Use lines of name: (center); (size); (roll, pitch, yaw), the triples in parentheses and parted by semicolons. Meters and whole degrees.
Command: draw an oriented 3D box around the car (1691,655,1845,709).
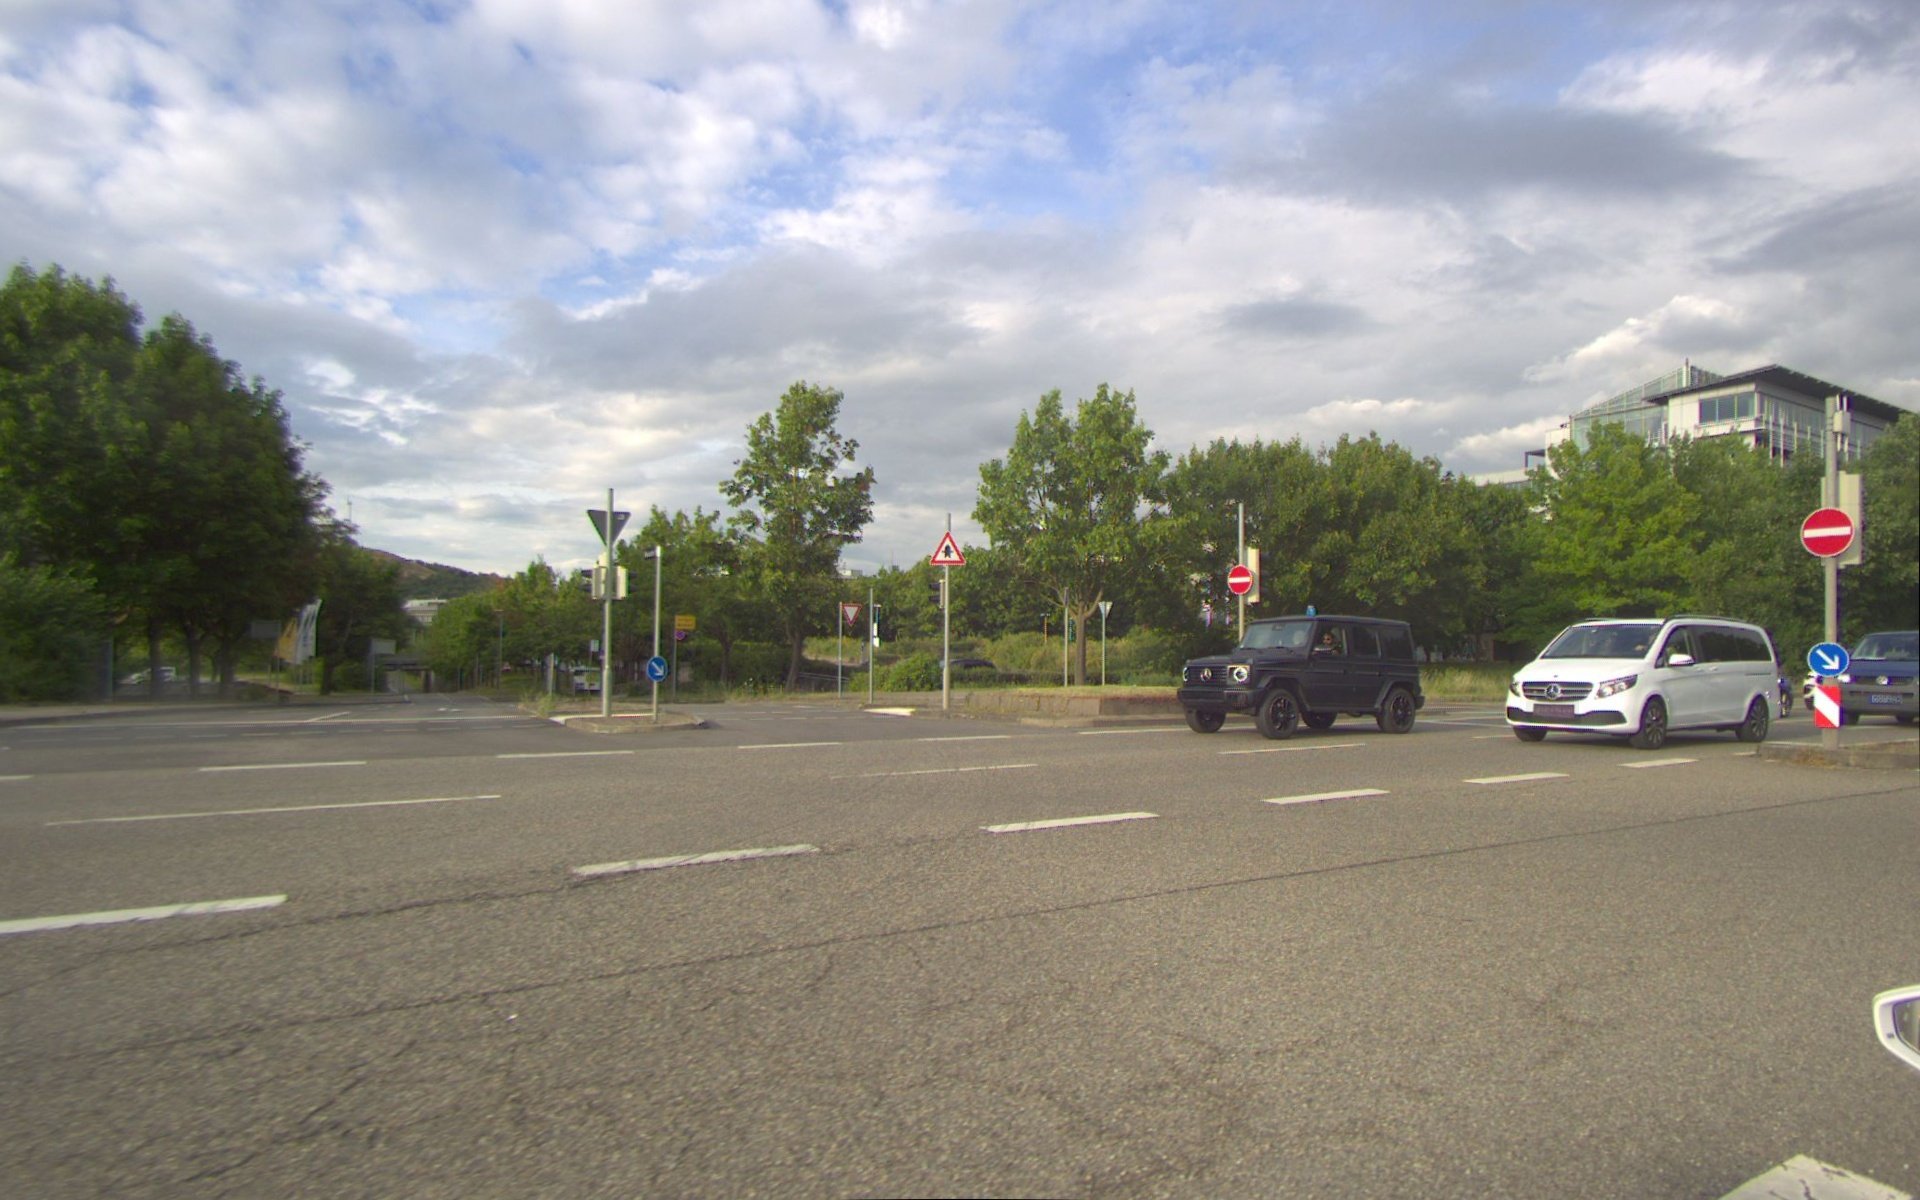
car: (20.190, 2.035, 25.080); (3.954, 1.256, 1.714); (2, -5, -31)

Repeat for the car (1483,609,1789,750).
car: (10.643, 1.196, 15.692); (5.286, 1.897, 1.925); (2, -3, -31)

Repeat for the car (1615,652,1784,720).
car: (17.178, 1.952, 23.296); (4.136, 1.406, 1.641); (2, -2, -30)

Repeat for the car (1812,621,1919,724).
car: (20.029, 1.516, 20.870); (4.990, 1.941, 1.891); (2, -5, -30)

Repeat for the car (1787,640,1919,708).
car: (25.511, 2.049, 28.144); (4.788, 1.772, 2.025); (2, -4, -30)

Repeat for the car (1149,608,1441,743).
car: (5.800, 1.252, 17.190); (5.032, 2.016, 1.925); (2, -3, -30)
